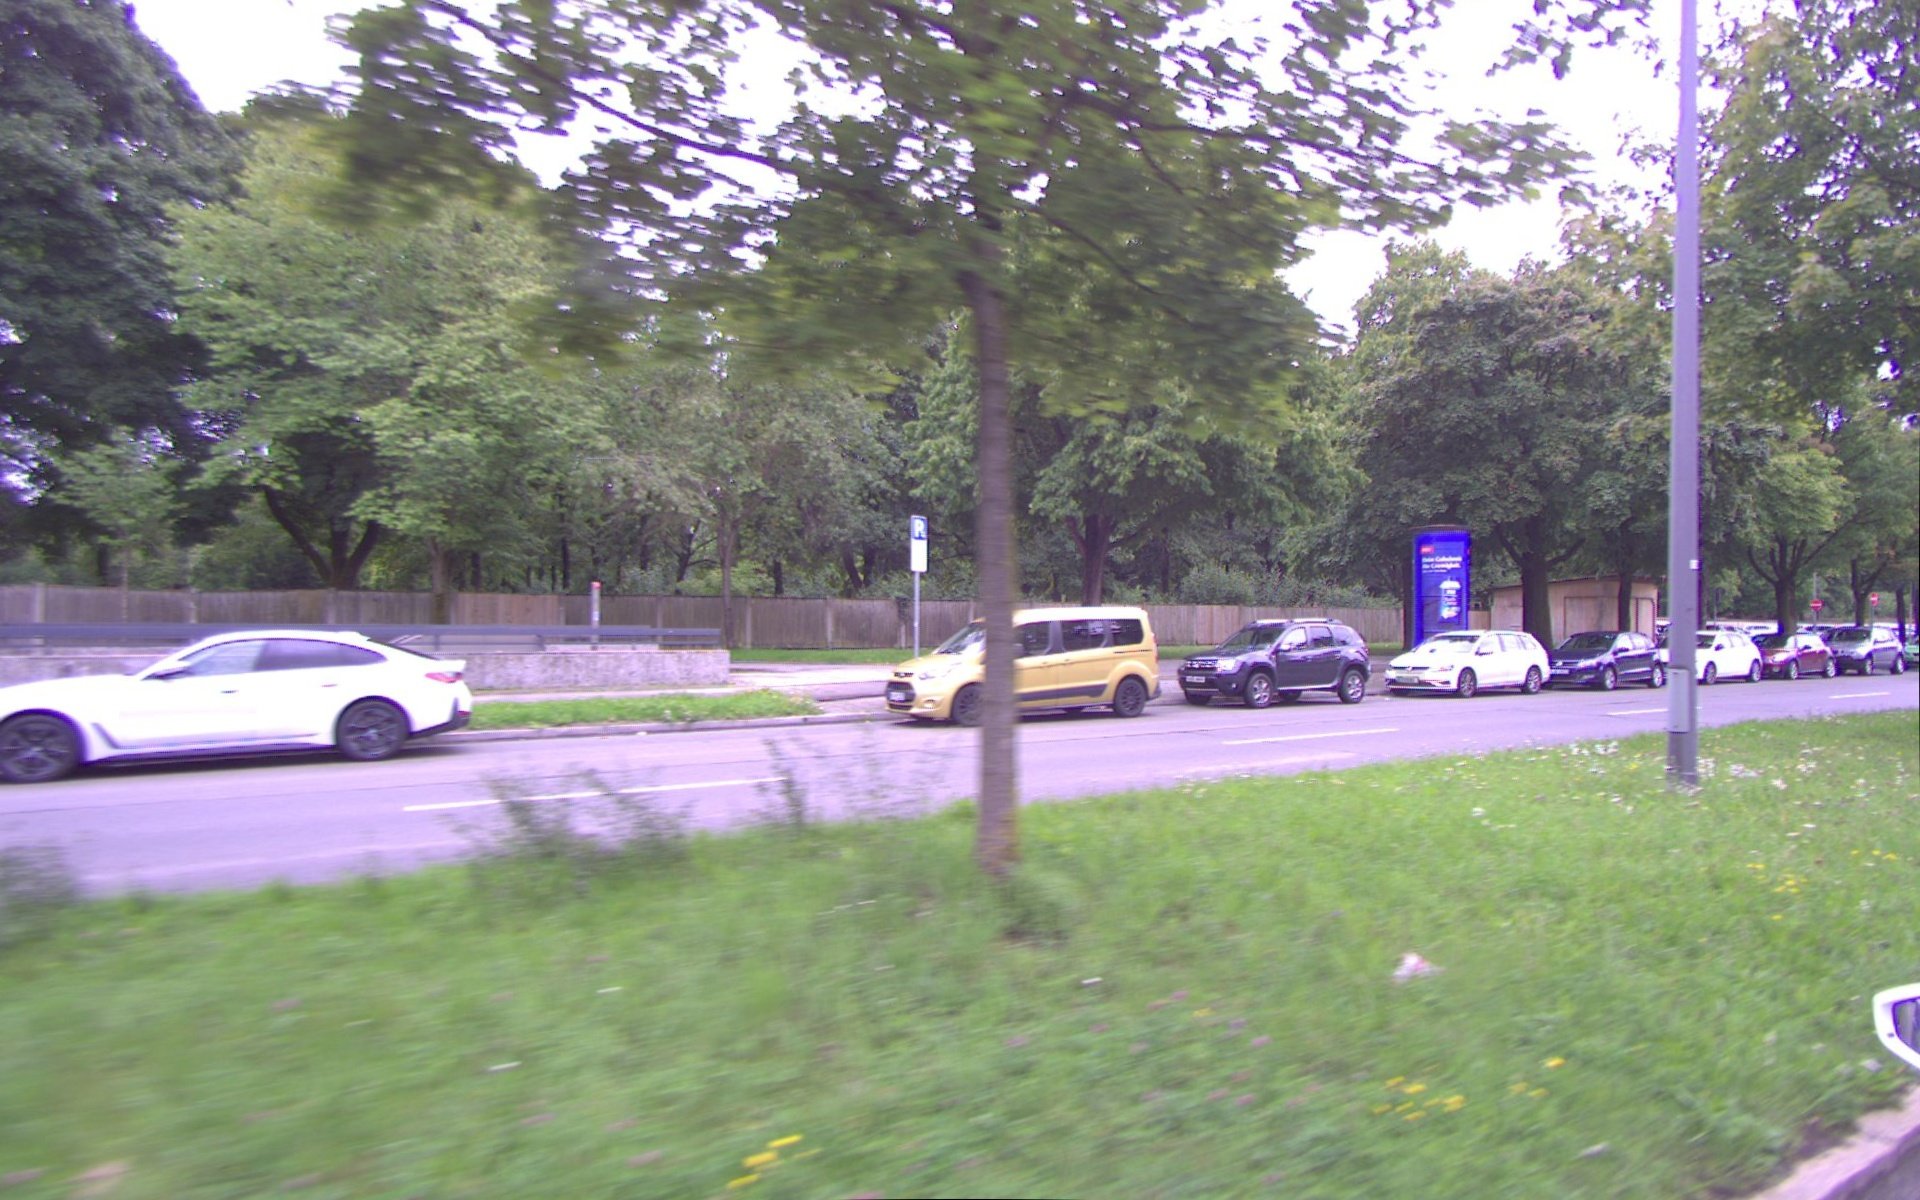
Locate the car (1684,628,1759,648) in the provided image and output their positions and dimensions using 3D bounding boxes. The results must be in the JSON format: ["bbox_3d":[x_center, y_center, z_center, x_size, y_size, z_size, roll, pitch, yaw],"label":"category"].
[{"bbox_3d":[63.017,3.111,83.225,1.652,1.465,4.670,1,0,-29],"label":"car"}]

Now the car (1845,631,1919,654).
[{"bbox_3d":[66.059,3.020,71.851,1.656,1.465,3.841,1,0,-35],"label":"car"}]

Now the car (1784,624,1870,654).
[{"bbox_3d":[55.969,2.511,64.882,1.656,1.740,3.893,1,0,-35],"label":"car"}]

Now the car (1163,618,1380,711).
[{"bbox_3d":[6.176,1.215,19.807,4.207,1.667,1.728,1,-2,-31],"label":"car"}]

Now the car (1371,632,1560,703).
[{"bbox_3d":[11.624,1.480,23.015,4.481,1.469,1.754,1,-2,-31],"label":"car"}]

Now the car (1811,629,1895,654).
[{"bbox_3d":[58.655,2.723,66.046,1.656,1.465,3.841,1,0,-35],"label":"car"}]

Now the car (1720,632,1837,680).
[{"bbox_3d":[25.469,1.716,31.264,3.585,1.415,1.584,1,-2,-29],"label":"car"}]

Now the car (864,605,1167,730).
[{"bbox_3d":[0.968,1.040,16.468,4.759,1.806,1.806,1,-2,-30],"label":"car"}]

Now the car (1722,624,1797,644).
[{"bbox_3d":[67.005,2.832,84.269,1.652,1.465,4.670,1,0,-29],"label":"car"}]

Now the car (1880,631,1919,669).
[{"bbox_3d":[37.369,1.919,38.776,3.830,1.428,1.542,1,-2,-28],"label":"car"}]

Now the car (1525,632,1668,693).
[{"bbox_3d":[16.218,1.554,25.565,3.855,1.436,1.604,1,-2,-33],"label":"car"}]

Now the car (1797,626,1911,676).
[{"bbox_3d":[30.410,1.694,34.148,4.321,1.607,1.682,1,-2,-31],"label":"car"}]

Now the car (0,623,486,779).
[{"bbox_3d":[-8.077,1.019,11.304,4.819,1.492,1.848,1,-2,-31],"label":"car"}]

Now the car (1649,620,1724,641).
[{"bbox_3d":[57.456,2.407,79.515,1.652,1.496,4.486,2,0,-29],"label":"car"}]

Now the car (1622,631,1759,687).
[{"bbox_3d":[20.763,1.635,28.518,4.229,1.463,1.600,1,-2,-30],"label":"car"}]
